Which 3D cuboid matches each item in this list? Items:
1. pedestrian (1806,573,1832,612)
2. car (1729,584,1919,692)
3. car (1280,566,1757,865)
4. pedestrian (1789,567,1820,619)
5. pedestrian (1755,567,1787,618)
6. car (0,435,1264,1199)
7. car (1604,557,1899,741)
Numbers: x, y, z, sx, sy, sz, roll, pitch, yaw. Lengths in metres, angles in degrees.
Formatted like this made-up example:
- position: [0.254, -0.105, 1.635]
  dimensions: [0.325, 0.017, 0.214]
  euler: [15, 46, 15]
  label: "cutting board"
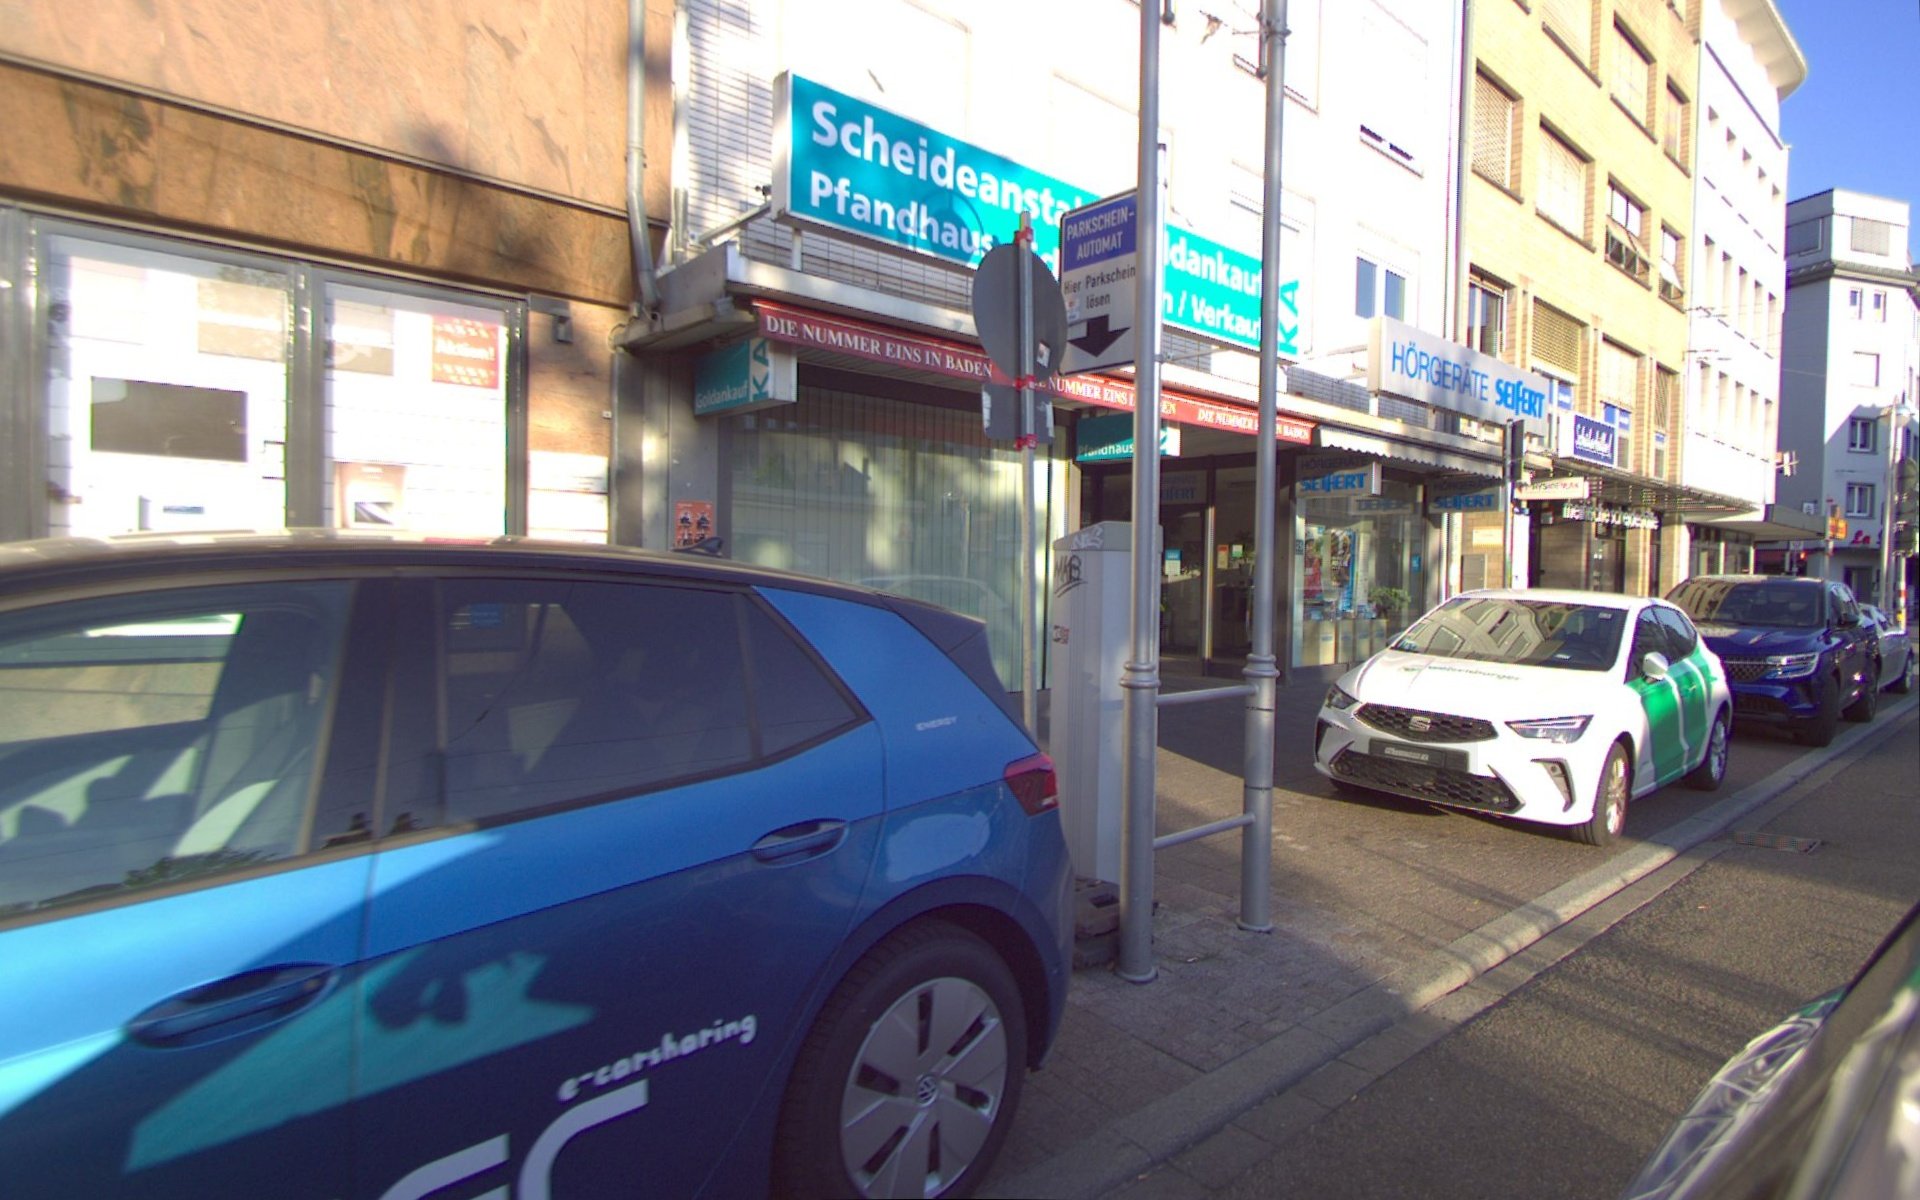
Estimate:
- position: [38.447, -0.345, 45.302]
  dimensions: [0.577, 1.676, 0.798]
  euler: [0, 2, -44]
  label: "pedestrian"
- position: [12.843, 0.450, 14.717]
  dimensions: [3.990, 1.298, 1.678]
  euler: [-1, 3, -38]
  label: "car"
- position: [4.120, 0.521, 7.162]
  dimensions: [4.083, 1.452, 1.733]
  euler: [-3, 4, -42]
  label: "car"
- position: [29.205, -0.251, 34.998]
  dimensions: [0.747, 1.795, 0.578]
  euler: [2, 2, 42]
  label: "pedestrian"
- position: [28.783, -0.269, 35.924]
  dimensions: [0.627, 1.795, 0.749]
  euler: [0, 1, -37]
  label: "pedestrian"
- position: [-1.477, 0.558, 2.100]
  dimensions: [4.753, 1.571, 1.812]
  euler: [-1, 2, -42]
  label: "car"
- position: [8.724, 0.388, 11.017]
  dimensions: [4.213, 1.625, 1.768]
  euler: [-1, 2, -41]
  label: "car"
